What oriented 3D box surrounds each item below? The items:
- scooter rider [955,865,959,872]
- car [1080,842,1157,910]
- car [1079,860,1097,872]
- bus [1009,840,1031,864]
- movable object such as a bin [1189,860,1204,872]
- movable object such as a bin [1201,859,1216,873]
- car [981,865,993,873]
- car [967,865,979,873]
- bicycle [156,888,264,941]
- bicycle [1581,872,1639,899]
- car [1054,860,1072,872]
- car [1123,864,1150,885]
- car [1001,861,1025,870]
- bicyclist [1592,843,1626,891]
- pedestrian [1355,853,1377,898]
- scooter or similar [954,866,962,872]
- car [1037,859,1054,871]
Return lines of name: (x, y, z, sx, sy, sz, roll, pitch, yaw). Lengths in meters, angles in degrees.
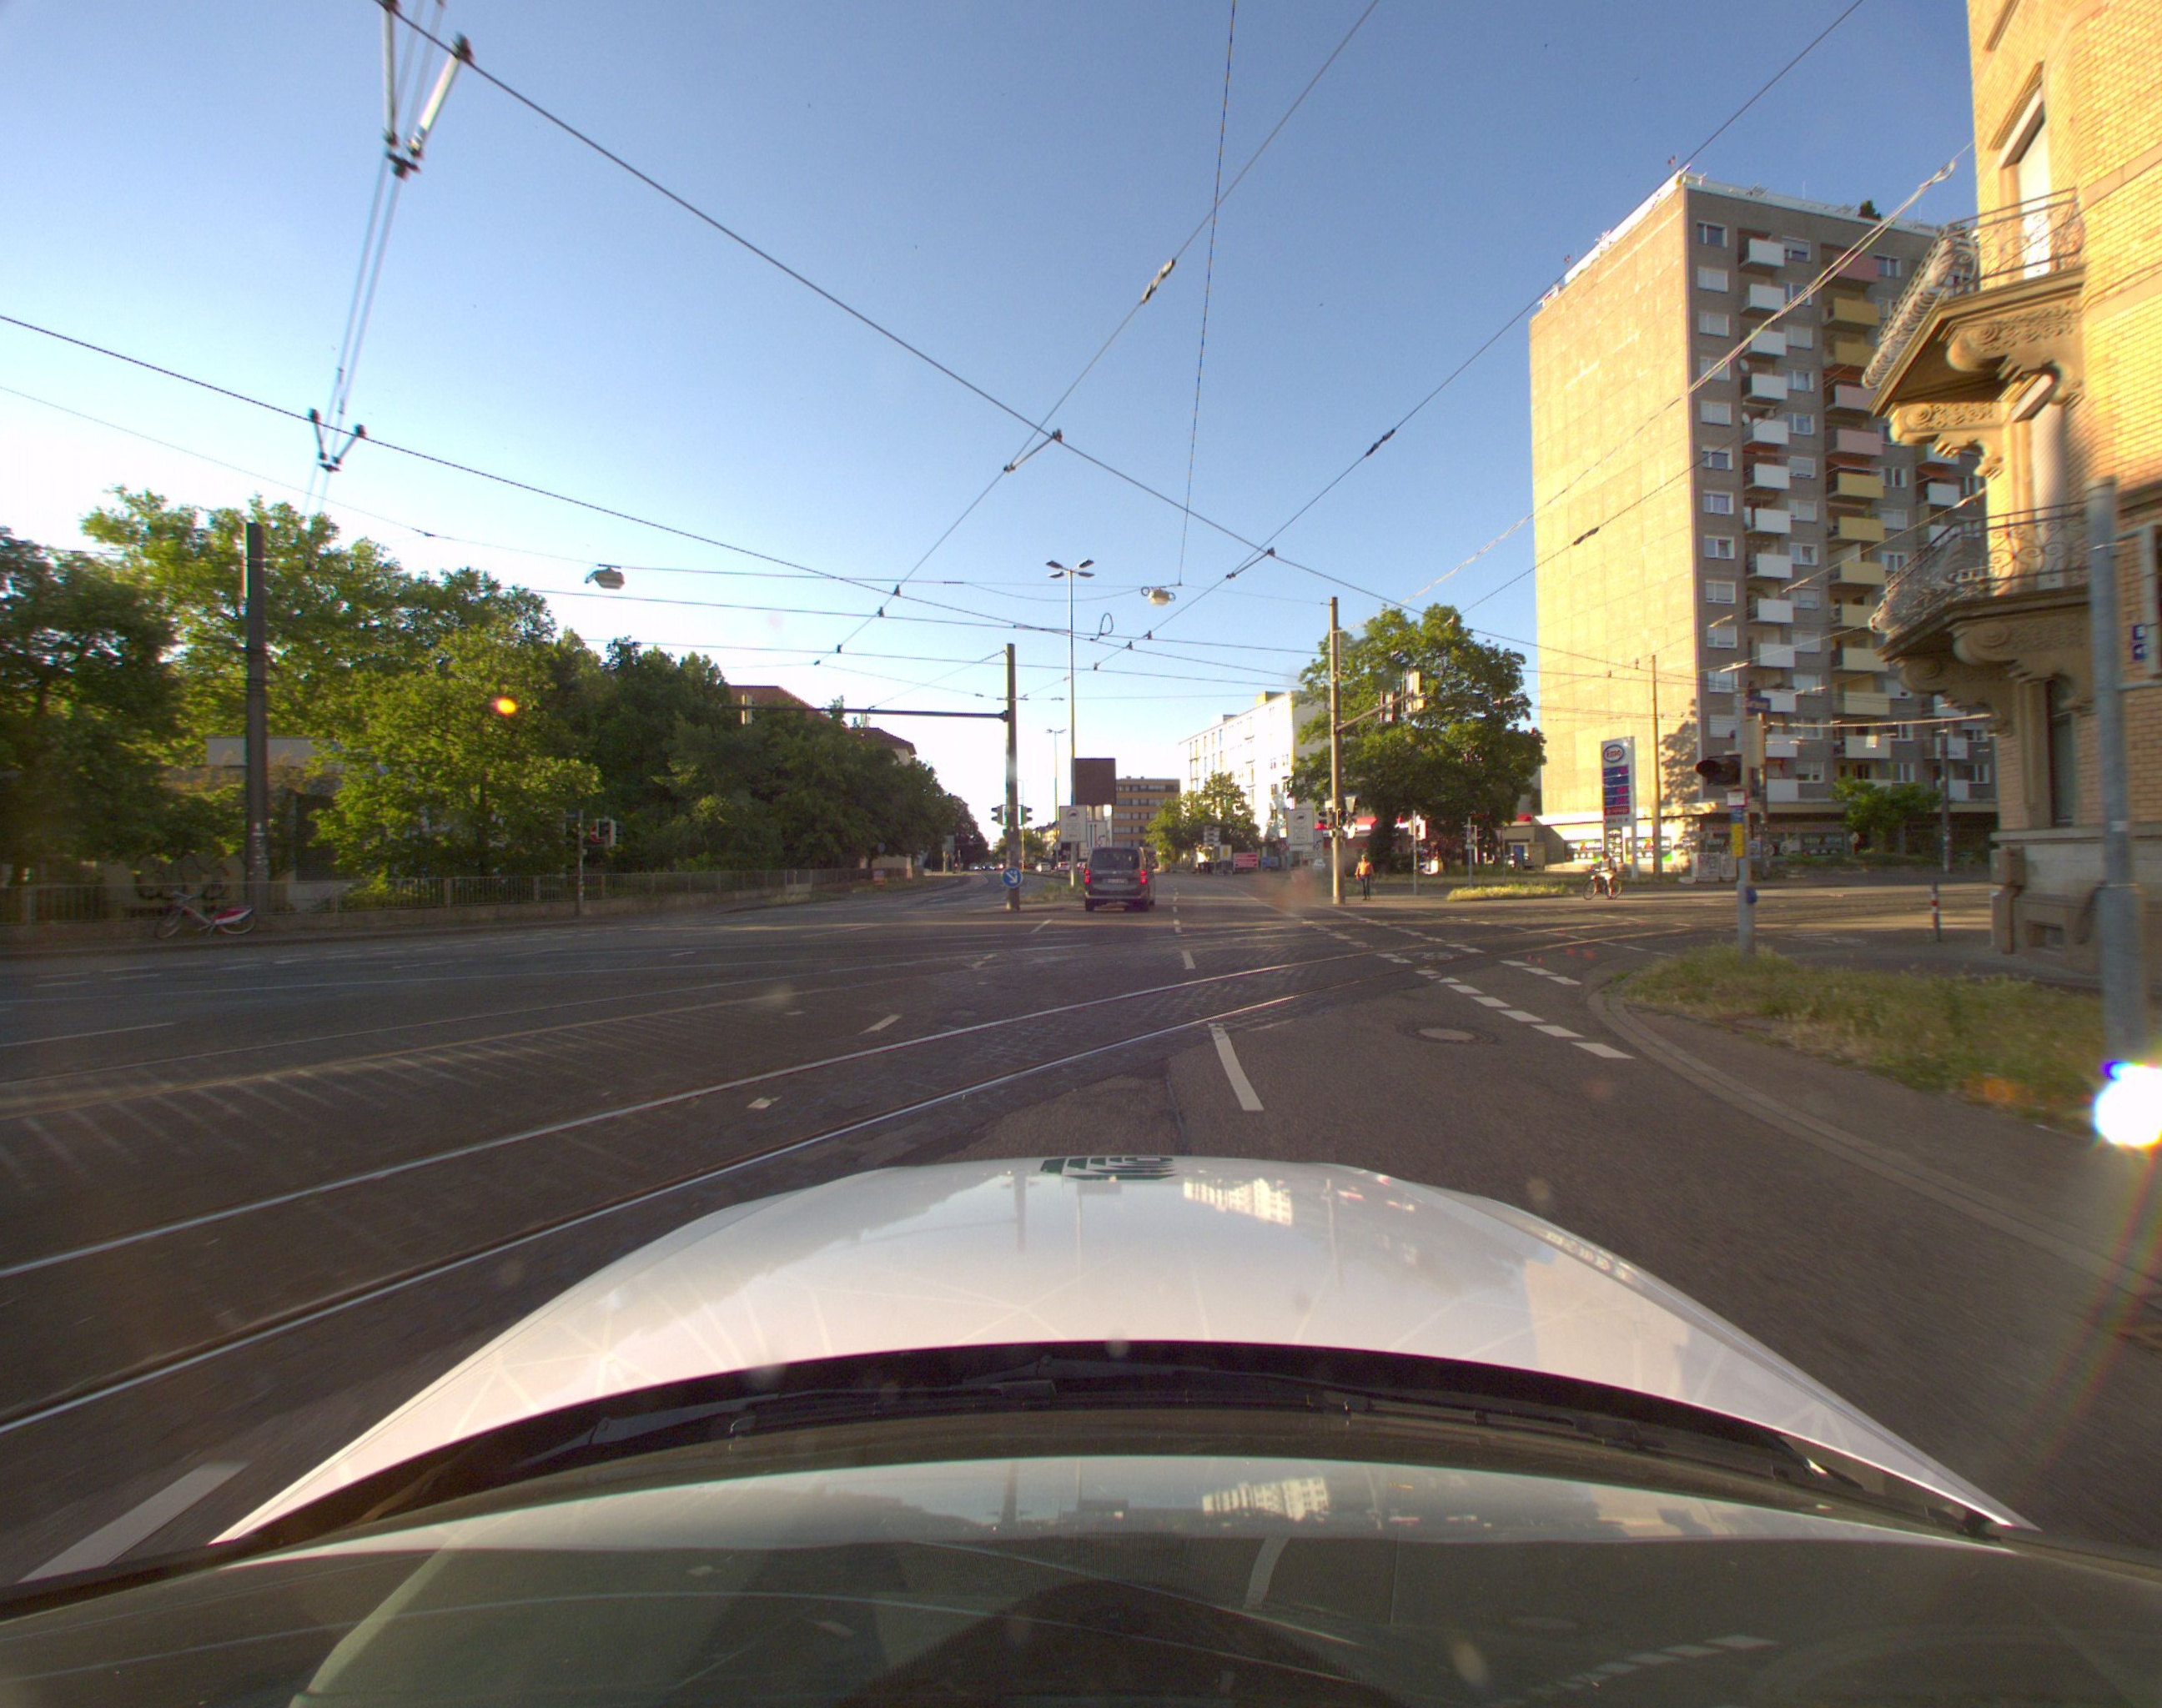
scooter rider: (-19.064, 2.185, 124.795, 0.510, 1.036, 0.443, 1, -1, -18)
car: (1.248, 0.659, 25.166, 1.982, 1.901, 4.308, 0, -1, 8)
car: (0.934, 1.689, 115.336, 1.991, 1.656, 4.289, -1, -1, -6)
bus: (-12.254, -0.325, 163.924, 3.291, 4.617, 9.963, 1, -1, -11)
movable object such as a bin: (13.495, 1.415, 95.204, 1.457, 1.386, 1.547, -1, -1, 1)
movable object such as a bin: (14.326, 1.336, 91.840, 1.457, 1.454, 1.547, -1, -1, 1)
car: (-19.104, 2.986, 165.391, 1.987, 1.595, 3.998, -1, 0, -1)
car: (-21.875, 2.974, 164.802, 1.987, 1.595, 3.998, -1, 0, -1)
bicycle: (-20.771, 1.420, 19.444, 0.552, 1.142, 1.733, -1, 0, 40)
bicycle: (17.927, 1.052, 27.578, 1.814, 0.829, 0.619, -1, -1, -17)
car: (-2.681, 1.788, 119.957, 1.994, 1.656, 4.284, -1, -1, -10)
car: (4.365, 1.577, 64.071, 1.840, 1.544, 3.630, -1, 0, -1)
car: (-12.530, 2.183, 149.311, 4.007, 1.595, 1.983, -1, -1, -26)
bicyclist: (17.864, 0.438, 27.580, 0.695, 1.583, 0.634, -1, -1, -17)
pedestrian: (10.511, 0.779, 30.085, 0.550, 1.629, 0.700, -1, -1, 1)
scooter or similar: (-18.845, 2.297, 124.857, 1.102, 0.976, 0.556, 1, -1, -18)
car: (-5.228, 1.632, 118.808, 1.994, 1.656, 4.284, -1, -1, -10)
